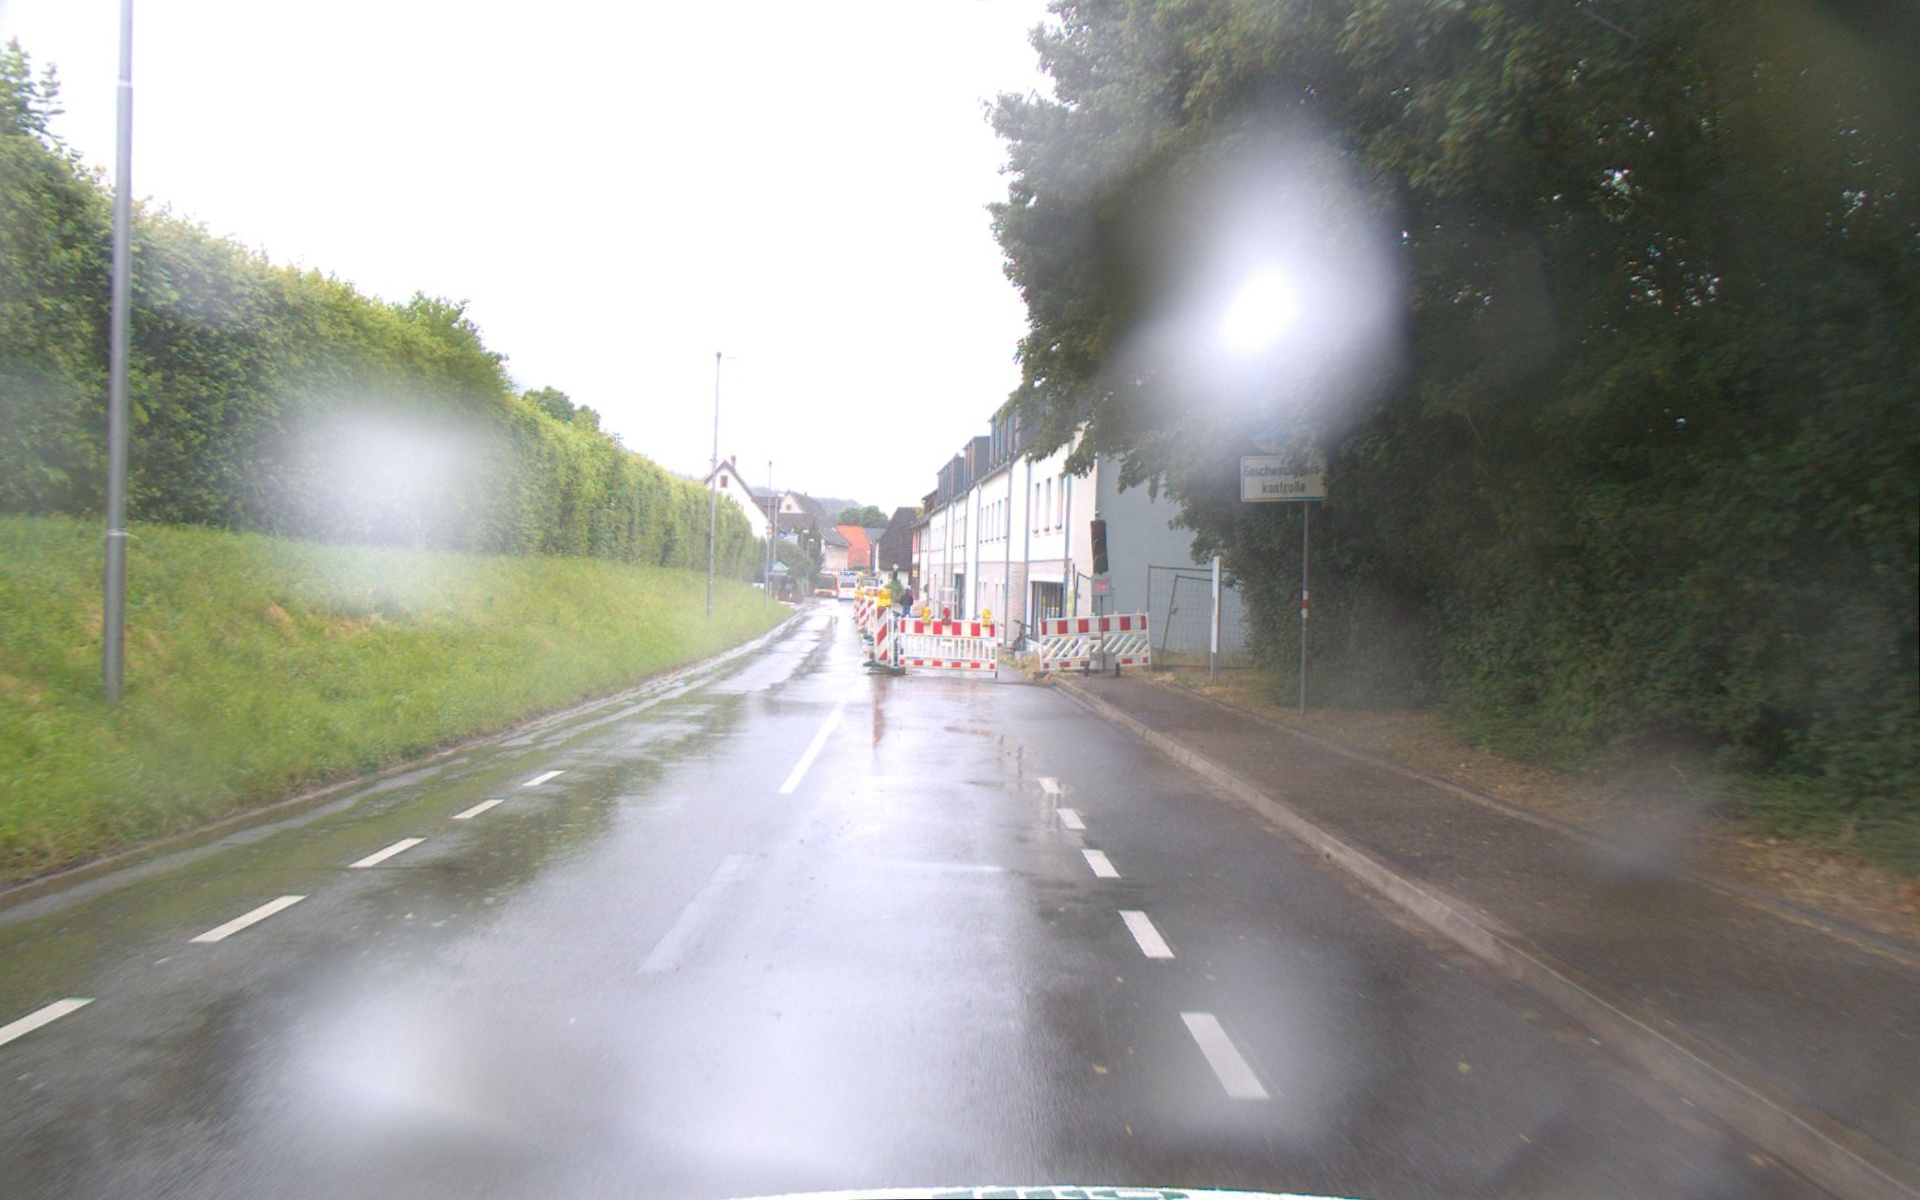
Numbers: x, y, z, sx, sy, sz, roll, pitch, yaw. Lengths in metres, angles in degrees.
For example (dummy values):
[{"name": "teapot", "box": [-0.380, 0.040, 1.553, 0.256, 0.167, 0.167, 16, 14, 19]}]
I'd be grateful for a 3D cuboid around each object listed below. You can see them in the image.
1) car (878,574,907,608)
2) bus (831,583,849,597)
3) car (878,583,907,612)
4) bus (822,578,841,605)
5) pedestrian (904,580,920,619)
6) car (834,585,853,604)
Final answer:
[{"name": "car", "box": [-5.146, -0.689, 125.824, 1.954, 2.416, 4.092, -3, 0, -4]}, {"name": "bus", "box": [-13.161, -1.111, 181.466, 1.758, 1.434, 3.998, 3, 0, -2]}, {"name": "car", "box": [-4.426, -0.186, 108.677, 1.866, 1.803, 3.885, -1, 0, -3]}, {"name": "bus", "box": [-15.288, -1.034, 196.575, 2.197, 3.157, 7.024, -1, 0, -5]}, {"name": "pedestrian", "box": [-2.235, -0.019, 77.361, 0.652, 1.786, 0.811, 1, 0, -5]}, {"name": "car", "box": [-11.271, -0.532, 160.018, 1.782, 1.670, 4.092, -4, 1, -4]}]
